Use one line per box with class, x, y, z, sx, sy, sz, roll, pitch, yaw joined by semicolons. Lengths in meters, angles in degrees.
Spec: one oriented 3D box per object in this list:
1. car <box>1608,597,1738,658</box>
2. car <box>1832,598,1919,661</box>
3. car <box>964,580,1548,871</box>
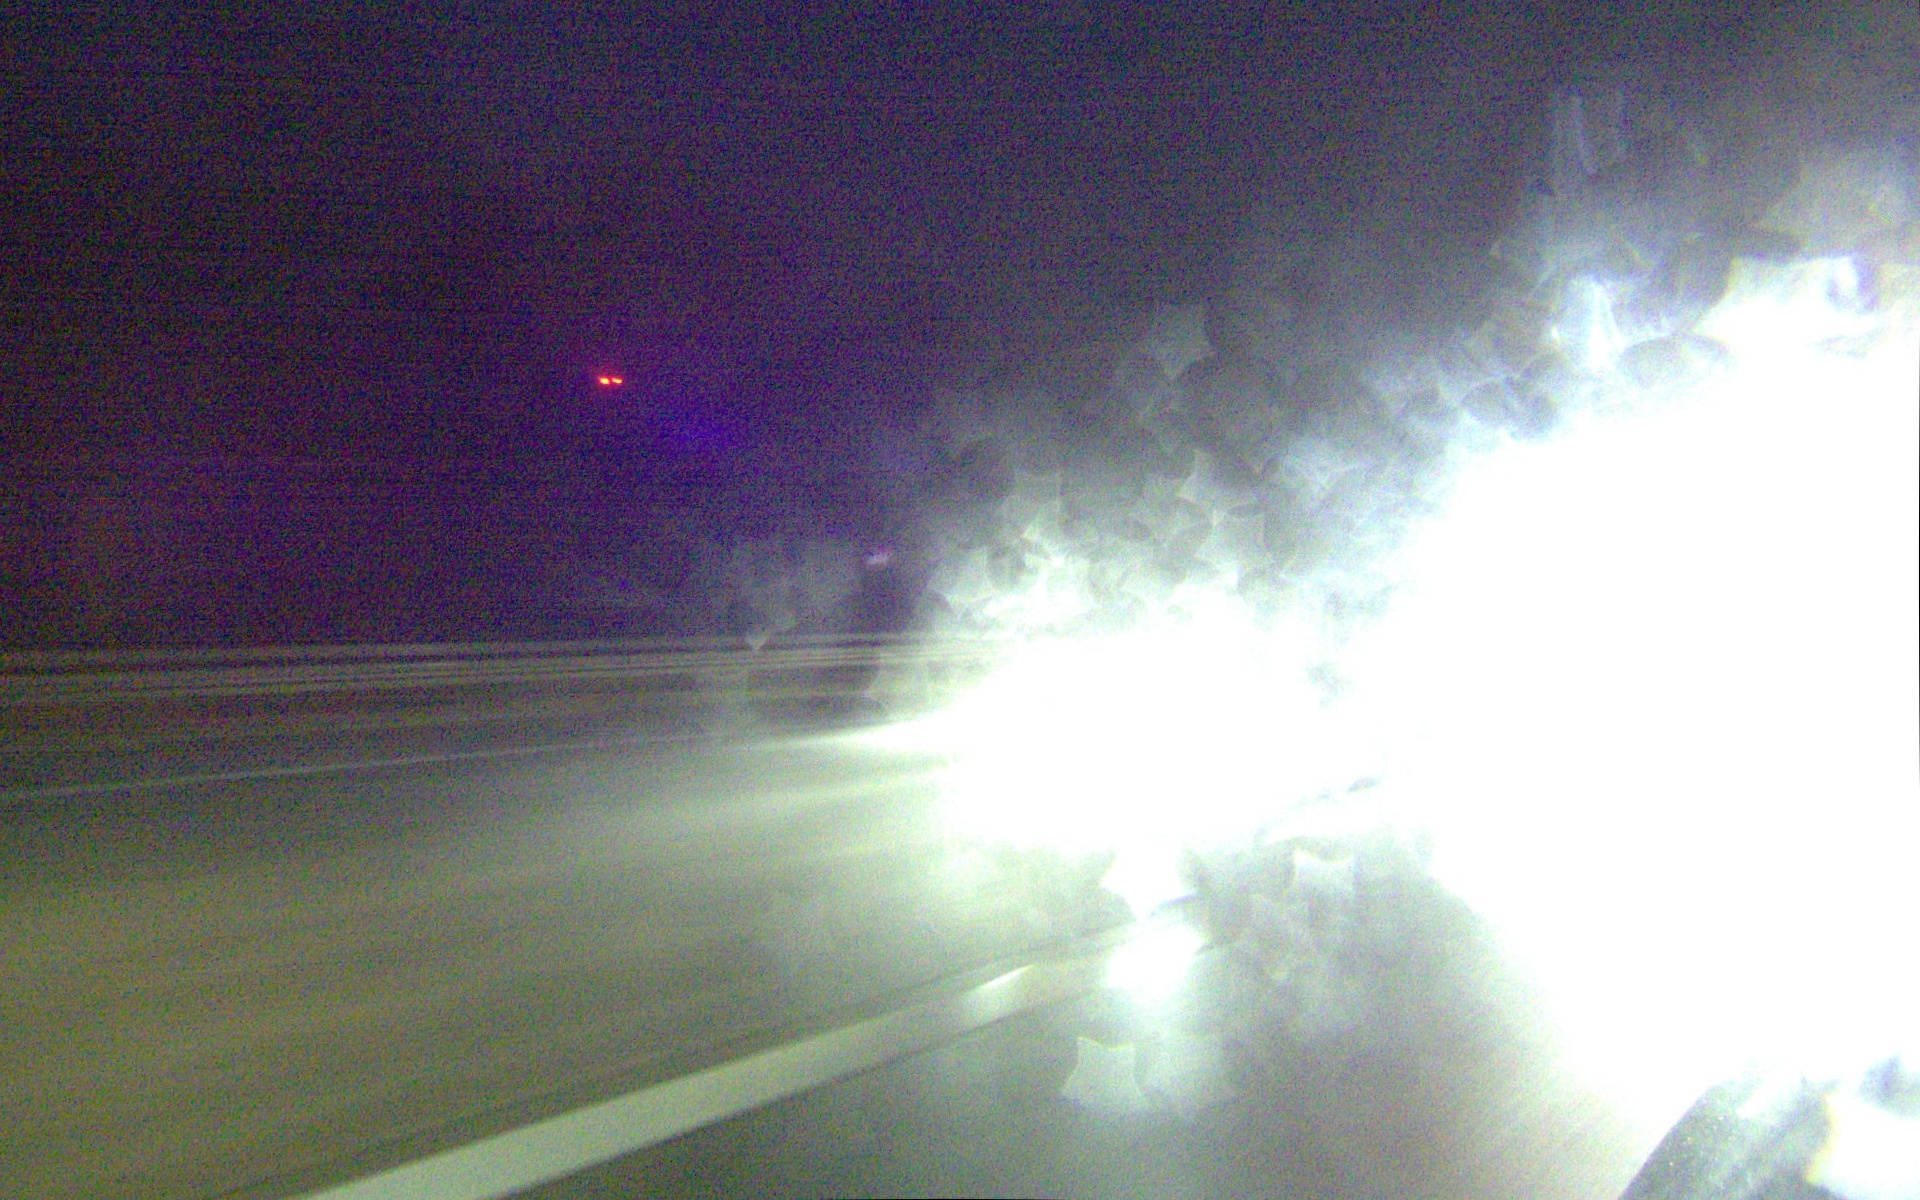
car;18.883;0.690;26.756;3.969;1.516;1.724;1;-1;-38
car;23.821;0.708;25.473;4.255;1.467;1.999;1;-1;-37
car;2.532;0.652;7.777;4.929;1.538;2.061;0;0;-42
